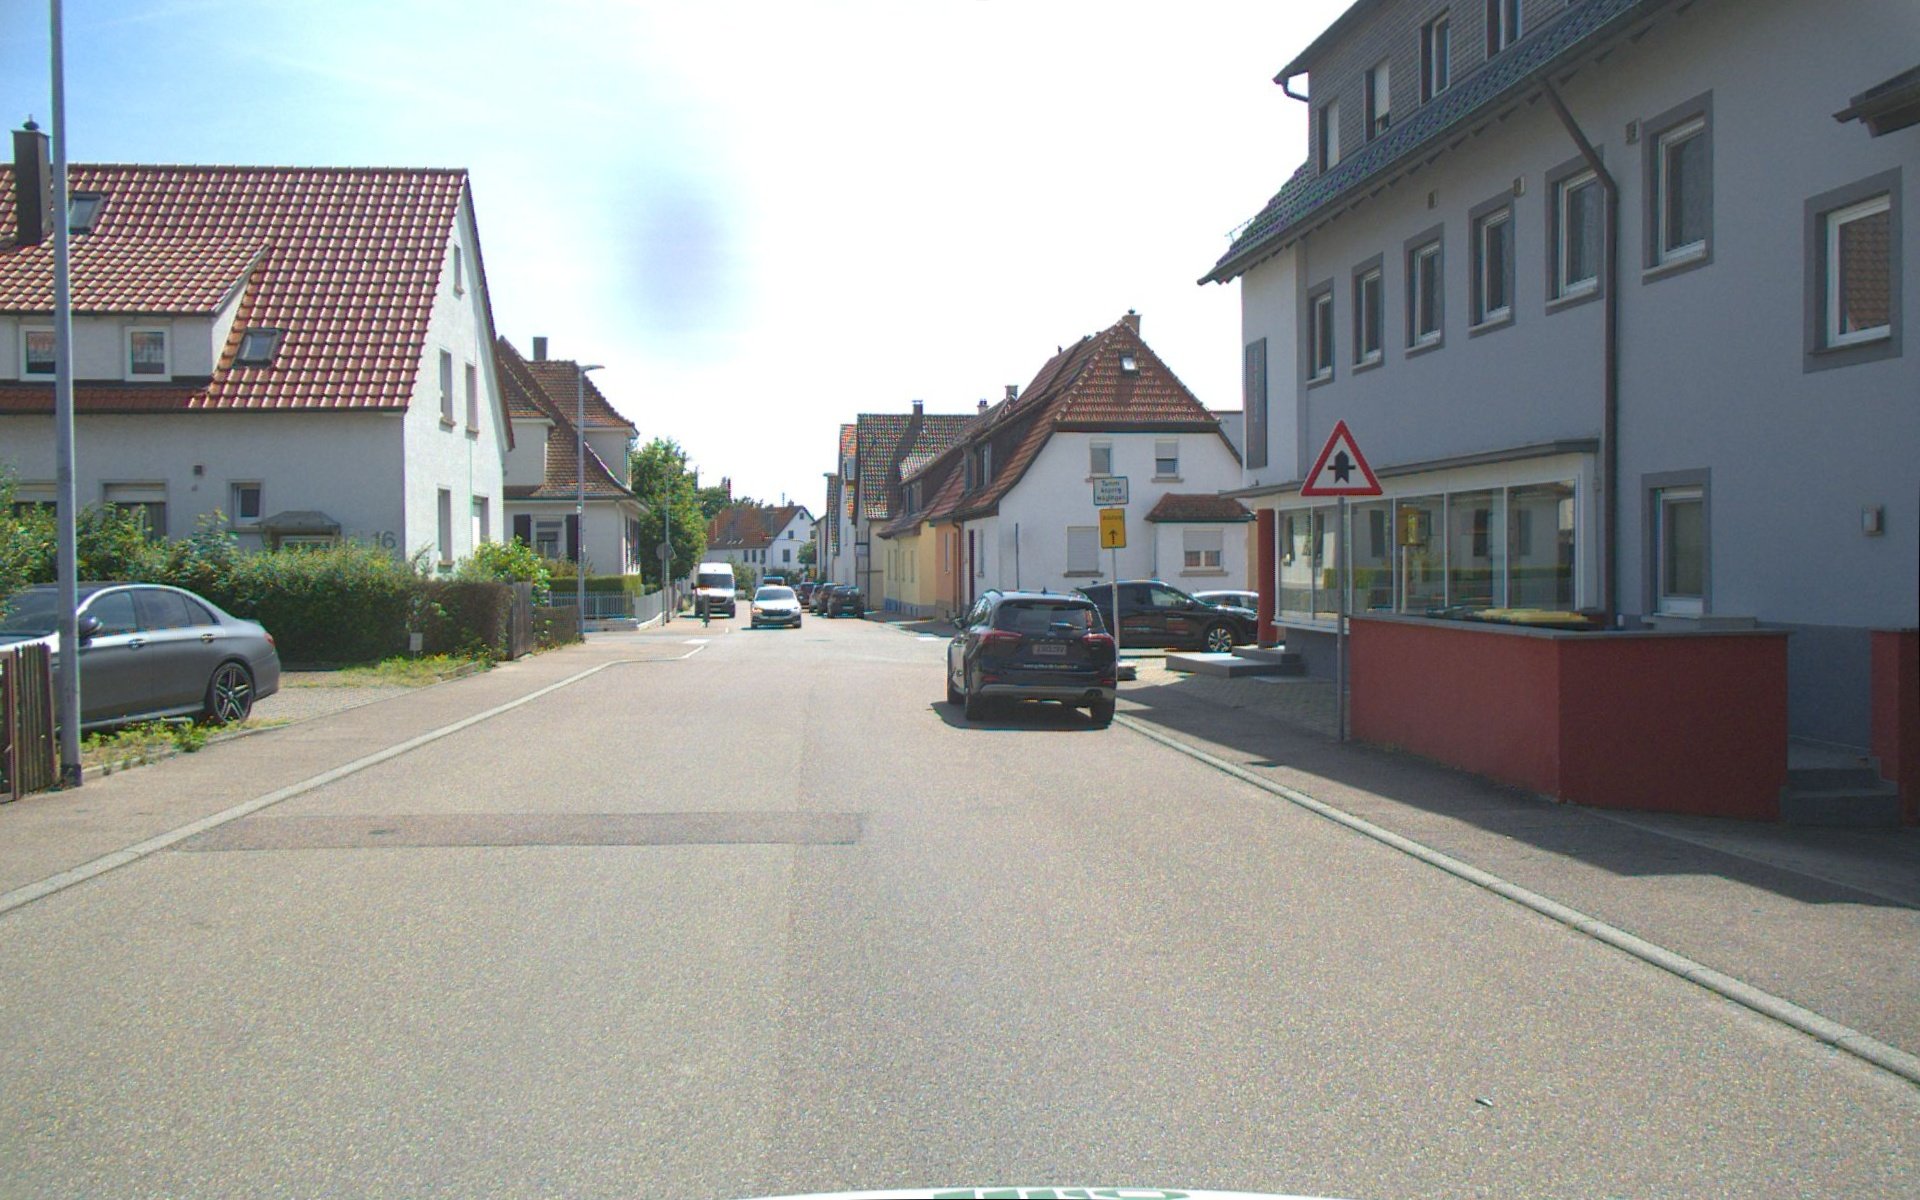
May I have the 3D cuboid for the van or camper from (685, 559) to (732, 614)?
[{"bbox_3d":[-12.429,-0.680,81.764,2.144,2.616,6.794,0,0,-9],"label":"van or camper"}]

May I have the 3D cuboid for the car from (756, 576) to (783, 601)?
[{"bbox_3d":[-17.750,-1.078,154.191,2.086,2.196,4.734,-1,1,-2],"label":"car"}]

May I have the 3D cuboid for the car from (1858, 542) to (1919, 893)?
[{"bbox_3d":[6.853,0.775,7.747,4.286,1.697,1.874,6,0,-7],"label":"car"}]

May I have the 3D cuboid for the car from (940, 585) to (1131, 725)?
[{"bbox_3d":[0.822,0.600,20.646,1.728,1.553,4.400,0,0,-6],"label":"car"}]

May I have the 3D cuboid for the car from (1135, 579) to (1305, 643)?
[{"bbox_3d":[6.411,0.261,41.034,3.907,1.530,1.693,0,0,-3],"label":"car"}]

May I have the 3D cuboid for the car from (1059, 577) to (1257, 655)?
[{"bbox_3d":[4.363,0.348,36.892,4.206,1.682,1.848,0,0,-1],"label":"car"}]

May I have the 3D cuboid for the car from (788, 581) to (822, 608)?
[{"bbox_3d":[-10.293,-0.380,109.543,1.842,1.730,4.173,0,0,-10],"label":"car"}]

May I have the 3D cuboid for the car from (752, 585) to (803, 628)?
[{"bbox_3d":[-6.498,0.193,58.630,1.720,1.463,4.581,0,1,-7],"label":"car"}]

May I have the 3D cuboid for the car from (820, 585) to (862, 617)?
[{"bbox_3d":[-5.577,0.024,77.256,1.581,1.456,3.745,0,0,-10],"label":"car"}]

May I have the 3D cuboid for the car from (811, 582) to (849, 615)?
[{"bbox_3d":[-6.530,-0.097,82.789,1.696,1.627,4.246,0,0,-8],"label":"car"}]

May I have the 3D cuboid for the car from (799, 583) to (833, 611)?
[{"bbox_3d":[-8.274,-0.167,94.732,1.643,1.586,3.033,0,0,-10],"label":"car"}]

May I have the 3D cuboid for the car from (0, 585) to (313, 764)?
[{"bbox_3d":[-8.276,0.585,15.744,1.788,1.457,4.567,0,0,11],"label":"car"}]
